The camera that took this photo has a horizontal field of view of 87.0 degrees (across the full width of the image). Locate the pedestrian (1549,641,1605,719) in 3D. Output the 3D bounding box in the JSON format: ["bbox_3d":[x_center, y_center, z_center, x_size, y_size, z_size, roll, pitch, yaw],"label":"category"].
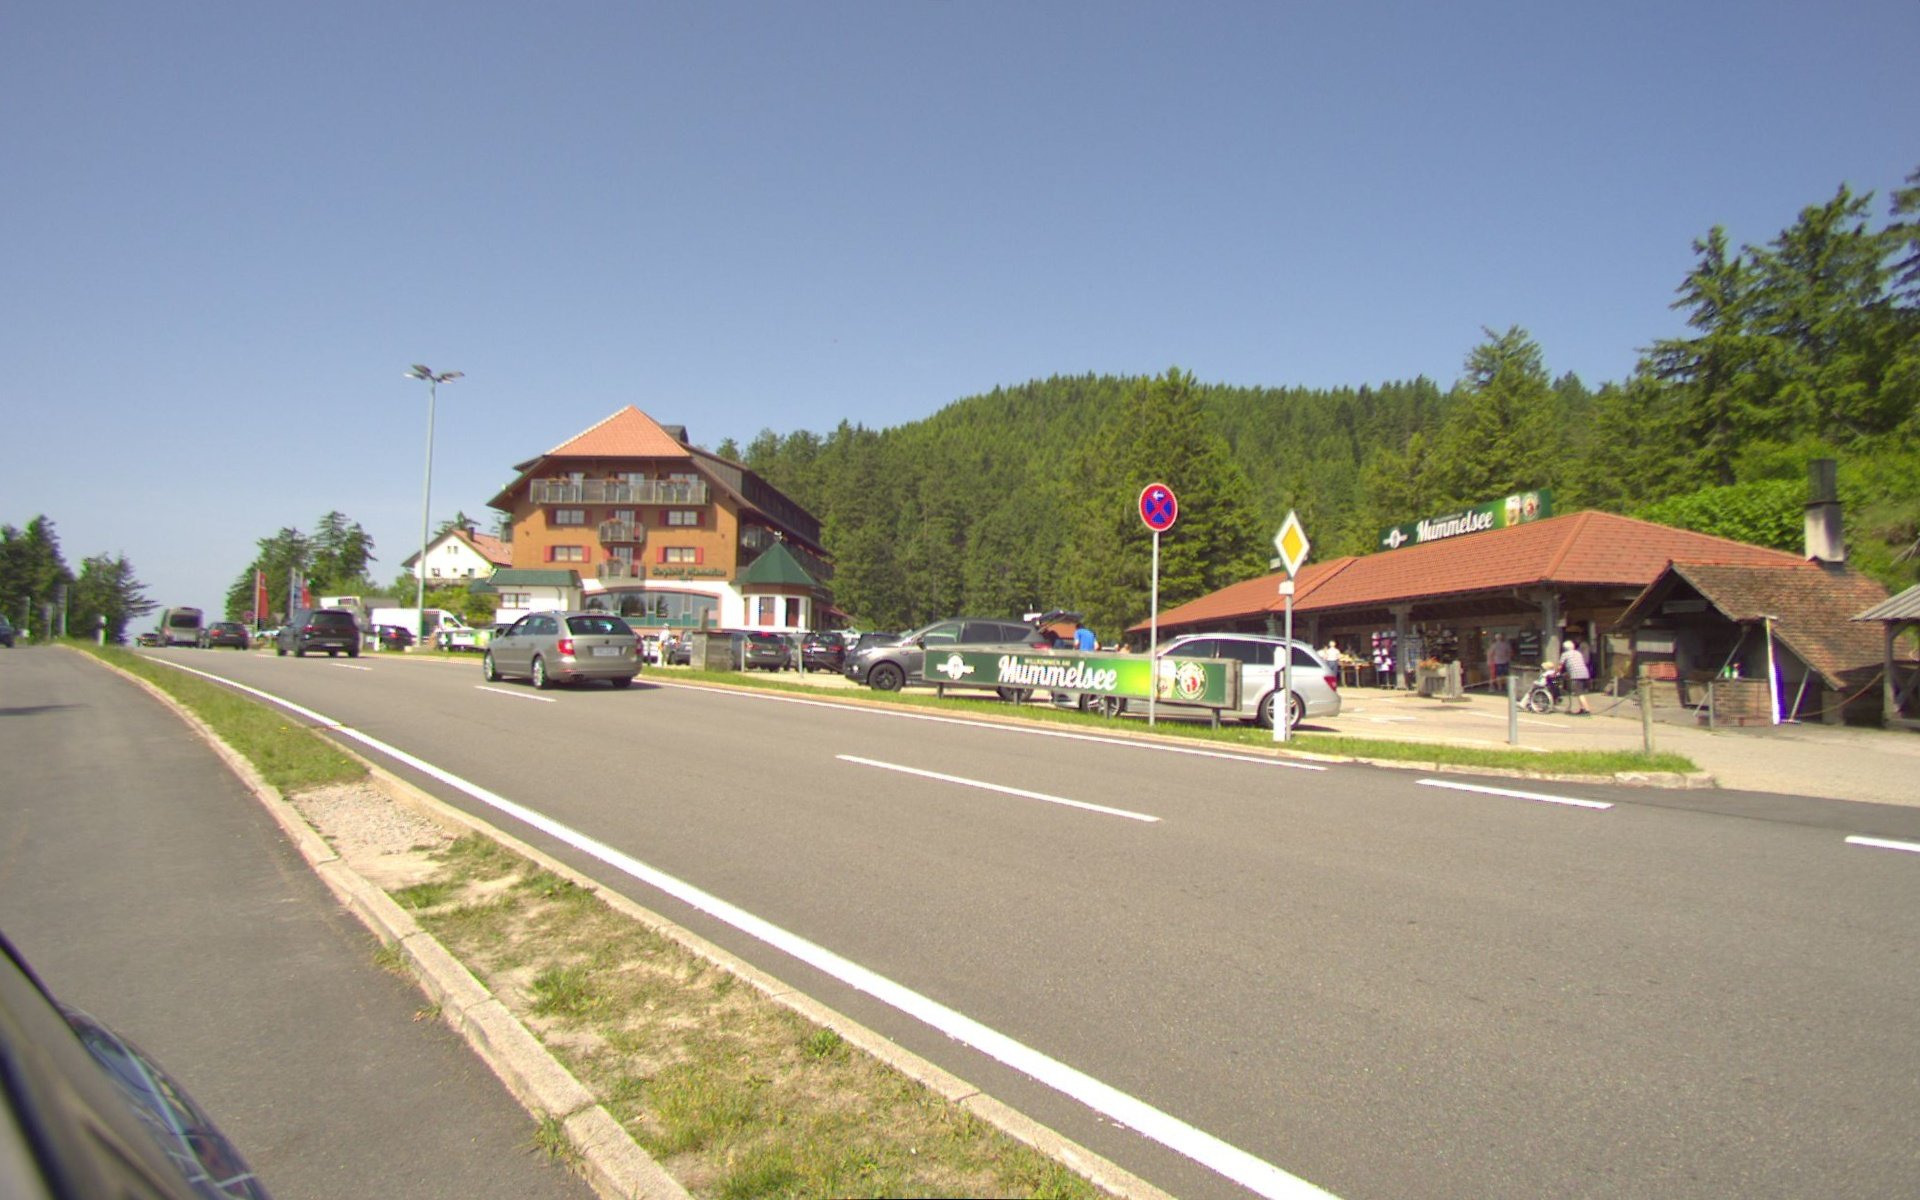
[{"bbox_3d":[13.991,1.800,22.975,0.830,1.712,0.801,1,-2,9],"label":"pedestrian"}]

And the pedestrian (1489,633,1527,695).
[{"bbox_3d":[16.005,1.858,29.570,0.741,1.750,0.801,1,-2,9],"label":"pedestrian"}]

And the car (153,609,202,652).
[{"bbox_3d":[-53.248,2.030,68.807,1.987,2.772,5.922,4,-3,-43],"label":"car"}]

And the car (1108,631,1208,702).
[{"bbox_3d":[5.347,1.785,27.855,1.893,1.729,4.094,2,-2,0],"label":"car"}]

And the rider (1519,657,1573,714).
[{"bbox_3d":[13.882,2.012,24.000,0.830,1.284,0.906,1,-2,9],"label":"rider"}]

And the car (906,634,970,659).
[{"bbox_3d":[-1.640,3.565,77.593,4.779,1.729,1.920,2,-2,1],"label":"car"}]

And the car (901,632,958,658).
[{"bbox_3d":[-2.219,3.277,73.534,4.038,1.729,1.920,2,-2,1],"label":"car"}]

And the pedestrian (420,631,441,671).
[{"bbox_3d":[-27.450,2.635,52.424,0.803,2.029,0.707,-1,-3,45],"label":"pedestrian"}]

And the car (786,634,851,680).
[{"bbox_3d":[-5.365,2.160,38.909,1.799,1.641,4.092,2,-2,1],"label":"car"}]

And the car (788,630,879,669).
[{"bbox_3d":[-5.941,2.331,47.750,4.036,1.641,1.824,2,-2,-1],"label":"car"}]

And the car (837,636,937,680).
[{"bbox_3d":[-3.018,2.408,42.301,4.036,1.641,1.824,2,-2,-1],"label":"car"}]

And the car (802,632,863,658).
[{"bbox_3d":[-9.125,3.253,72.686,4.038,1.729,1.920,2,-2,1],"label":"car"}]

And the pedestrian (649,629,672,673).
[{"bbox_3d":[-11.217,1.906,37.870,0.734,1.637,0.685,2,-2,-14],"label":"pedestrian"}]

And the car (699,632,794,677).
[{"bbox_3d":[-7.568,1.883,35.632,1.694,1.441,4.009,4,-3,-37],"label":"car"}]

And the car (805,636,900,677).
[{"bbox_3d":[-4.731,2.508,44.931,4.036,1.641,1.824,2,-2,-1],"label":"car"}]

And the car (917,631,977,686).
[{"bbox_3d":[-0.449,1.992,35.067,1.893,1.729,4.094,2,-2,0],"label":"car"}]

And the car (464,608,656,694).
[{"bbox_3d":[-7.930,0.915,19.799,1.857,1.485,4.718,1,-1,-44],"label":"car"}]

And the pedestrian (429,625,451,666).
[{"bbox_3d":[-25.933,2.267,50.442,0.803,2.029,0.707,-1,-3,45],"label":"pedestrian"}]

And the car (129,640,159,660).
[{"bbox_3d":[-73.482,4.512,91.102,1.696,1.695,4.134,3,-3,-43],"label":"car"}]

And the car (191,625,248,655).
[{"bbox_3d":[-38.803,2.090,52.999,1.686,1.449,4.452,4,-3,-45],"label":"car"}]

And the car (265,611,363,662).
[{"bbox_3d":[-22.384,1.239,34.988,1.970,1.660,4.571,3,-3,-43],"label":"car"}]

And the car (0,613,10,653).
[{"bbox_3d":[-41.393,1.358,42.684,1.848,1.627,3.916,4,-3,-43],"label":"car"}]

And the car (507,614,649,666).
[{"bbox_3d":[-13.243,1.400,35.223,4.210,1.641,1.824,2,-2,-1],"label":"car"}]

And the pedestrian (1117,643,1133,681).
[{"bbox_3d":[8.896,3.343,54.491,0.682,2.029,0.752,1,-2,-3],"label":"pedestrian"}]

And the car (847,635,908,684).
[{"bbox_3d":[-3.011,2.174,37.579,1.799,1.641,4.092,2,-2,1],"label":"car"}]

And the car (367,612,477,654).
[{"bbox_3d":[-39.069,2.430,73.810,6.844,2.812,2.675,3,-3,-25],"label":"car"}]

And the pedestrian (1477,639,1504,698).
[{"bbox_3d":[15.963,2.047,30.429,0.556,1.750,0.663,-1,-3,44],"label":"pedestrian"}]

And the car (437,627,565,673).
[{"bbox_3d":[-18.093,1.966,40.016,4.210,1.641,1.824,2,-2,-1],"label":"car"}]

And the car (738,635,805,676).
[{"bbox_3d":[-7.543,2.211,40.861,1.799,1.524,4.092,2,-2,1],"label":"car"}]

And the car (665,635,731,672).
[{"bbox_3d":[-11.699,2.377,45.448,1.799,1.524,4.092,2,-2,1],"label":"car"}]

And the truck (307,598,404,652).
[{"bbox_3d":[-46.110,1.968,77.560,2.839,3.850,9.029,0,-2,-6],"label":"truck"}]

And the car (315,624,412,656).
[{"bbox_3d":[-32.088,2.158,54.523,4.033,1.539,1.826,2,-3,-4],"label":"car"}]

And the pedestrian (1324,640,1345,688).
[{"bbox_3d":[13.212,2.238,35.716,0.500,1.668,0.472,1,-2,-9],"label":"pedestrian"}]

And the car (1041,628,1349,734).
[{"bbox_3d":[3.607,1.255,16.068,4.440,1.441,1.722,2,-2,0],"label":"car"}]

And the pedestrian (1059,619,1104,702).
[{"bbox_3d":[2.480,1.225,20.738,0.735,1.648,0.848,2,-2,-4],"label":"pedestrian"}]

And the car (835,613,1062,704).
[{"bbox_3d":[-0.258,1.208,21.005,4.486,1.668,1.723,2,-3,-2],"label":"car"}]

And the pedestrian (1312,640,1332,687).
[{"bbox_3d":[13.049,2.273,36.517,0.500,1.668,0.472,1,-2,-9],"label":"pedestrian"}]

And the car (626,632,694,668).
[{"bbox_3d":[-13.771,2.315,46.752,1.799,1.524,4.092,2,-2,1],"label":"car"}]

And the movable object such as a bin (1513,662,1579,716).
[{"bbox_3d":[13.917,2.094,24.064,0.973,1.198,1.213,1,-2,9],"label":"movable object such as a bin"}]
